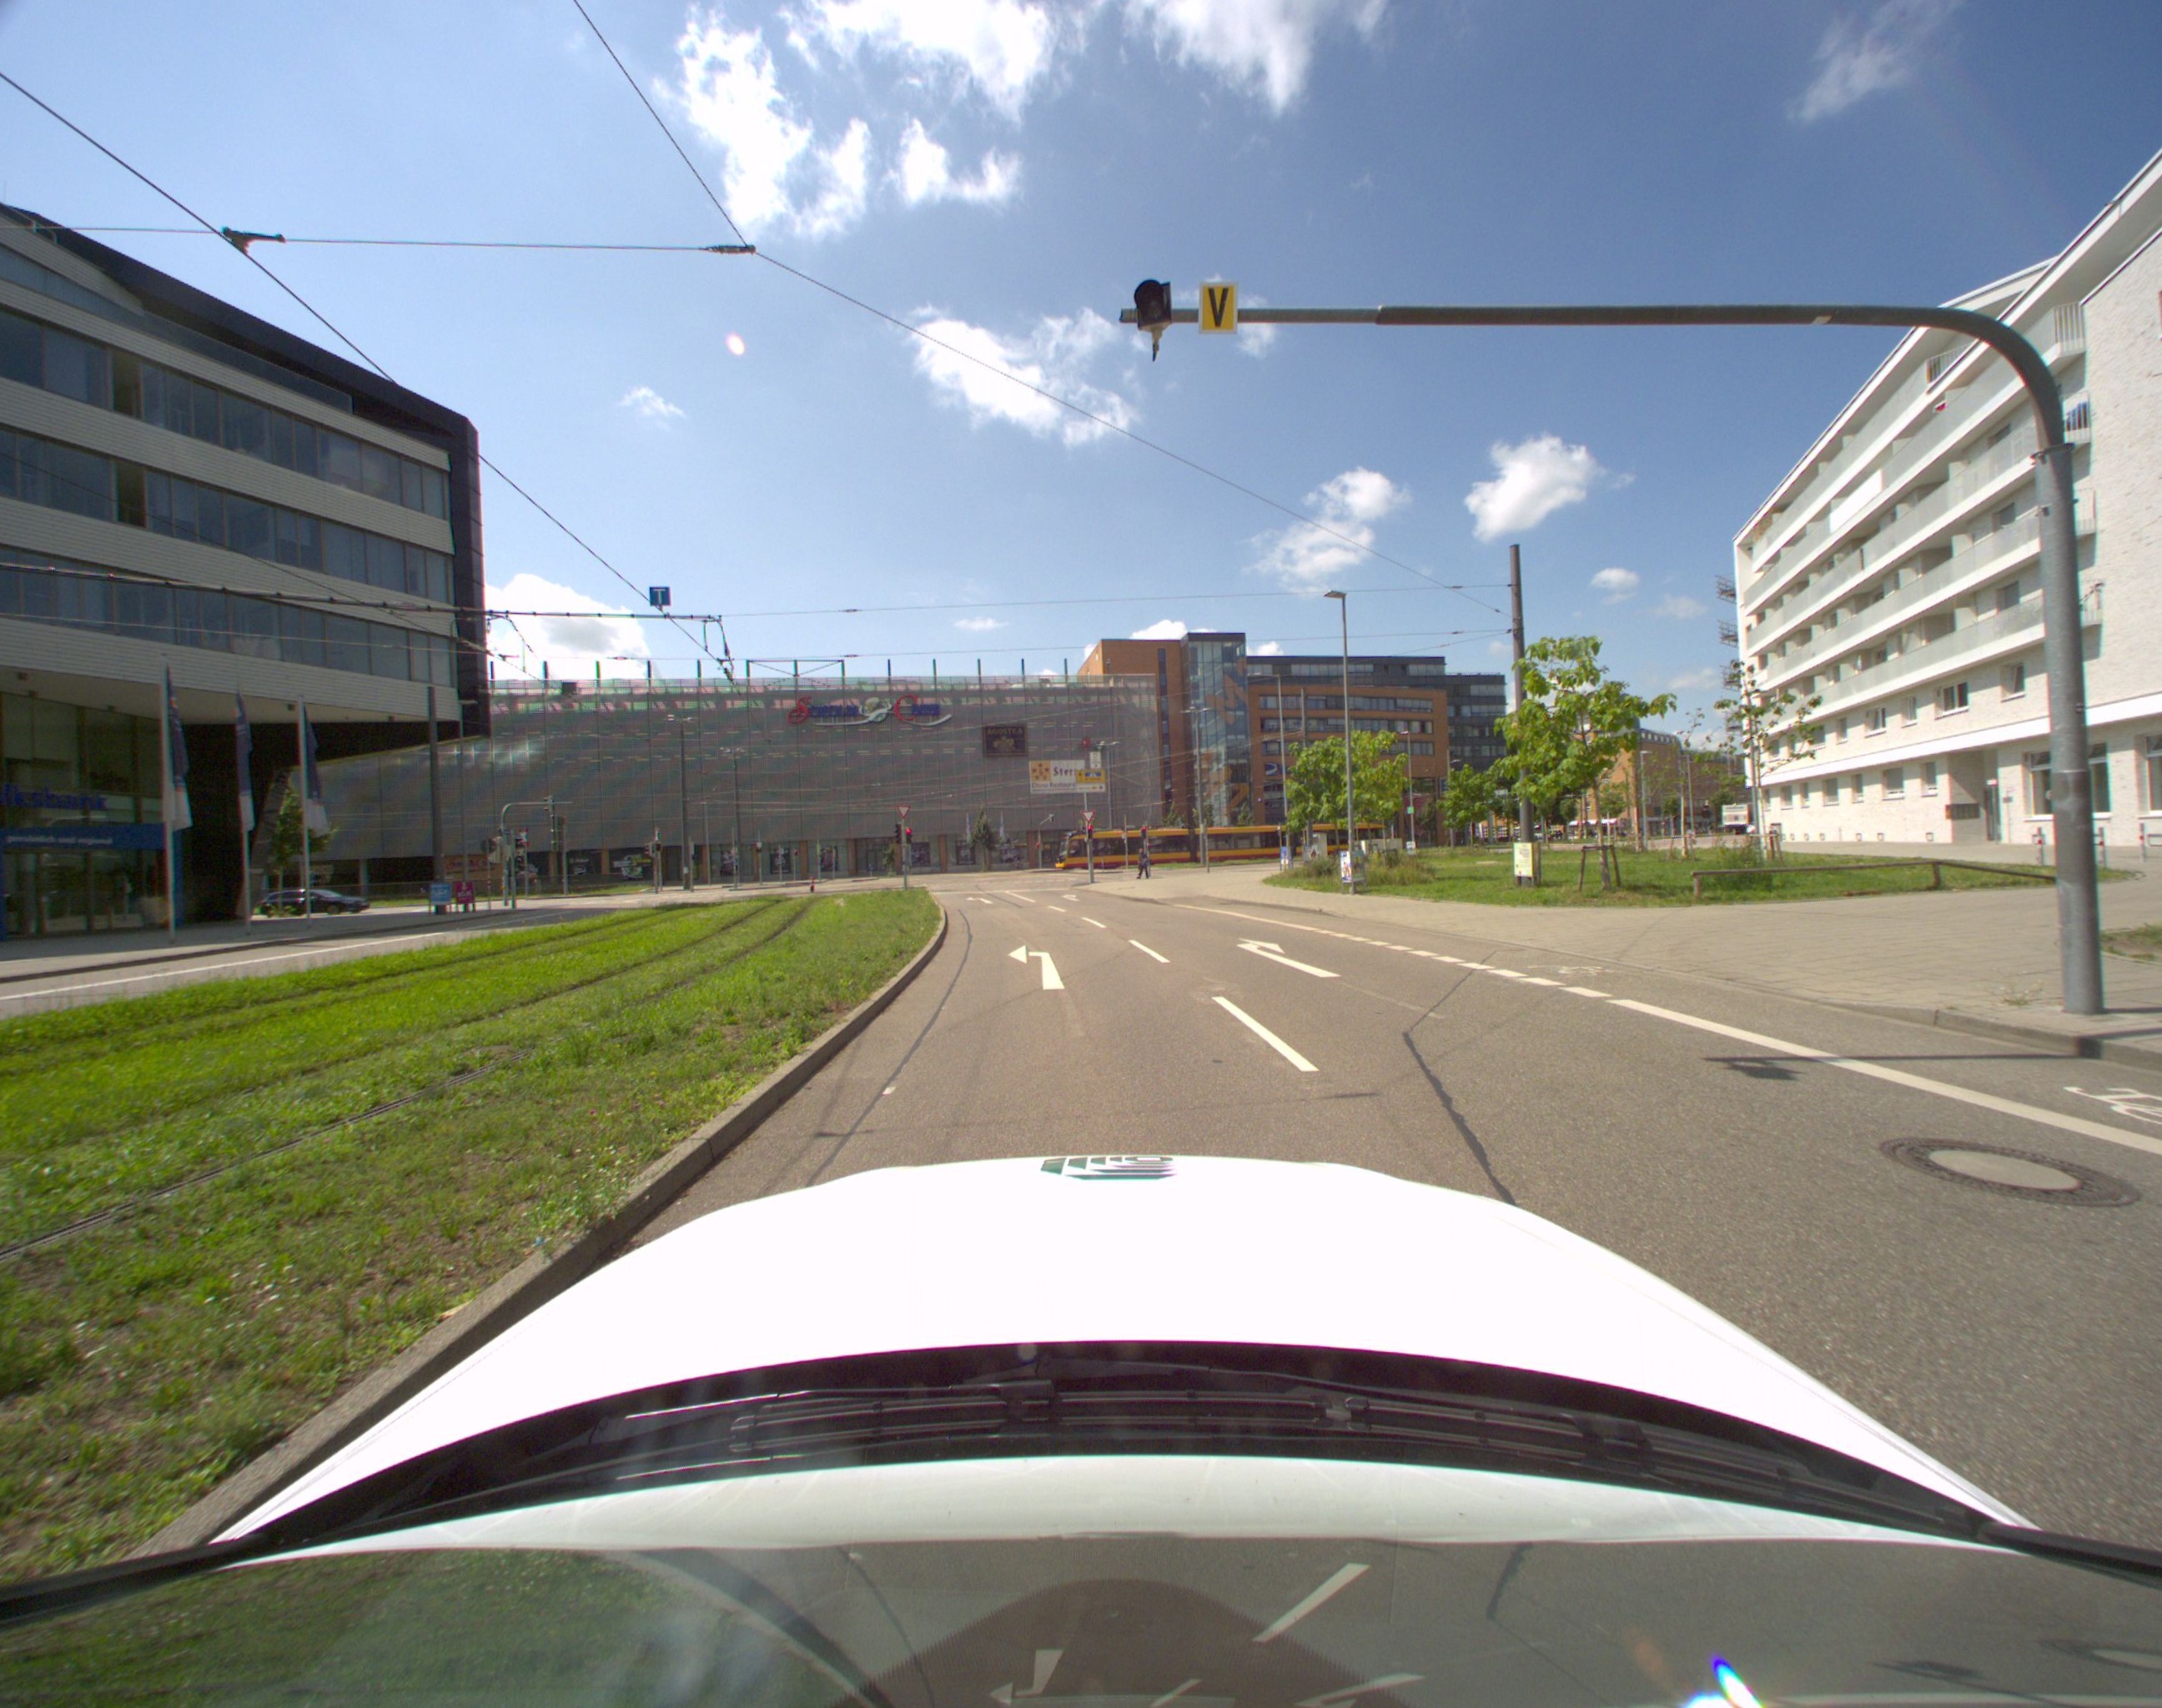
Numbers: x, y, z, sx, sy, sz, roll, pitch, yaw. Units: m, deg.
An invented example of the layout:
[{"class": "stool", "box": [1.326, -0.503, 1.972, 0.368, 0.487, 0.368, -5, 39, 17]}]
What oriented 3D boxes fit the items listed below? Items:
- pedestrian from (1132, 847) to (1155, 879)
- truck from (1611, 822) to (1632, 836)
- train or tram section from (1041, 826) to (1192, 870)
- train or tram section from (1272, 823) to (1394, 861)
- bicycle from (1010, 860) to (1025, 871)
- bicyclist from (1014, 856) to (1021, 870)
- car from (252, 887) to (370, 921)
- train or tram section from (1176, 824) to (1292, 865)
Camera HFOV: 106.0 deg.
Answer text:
[{"class": "pedestrian", "box": [3.471, 0.506, 45.260, 0.812, 1.702, 0.908, -3, -1, -39]}, {"class": "truck", "box": [85.906, -3.963, 129.568, 1.975, 2.085, 5.556, -2, 0, 26]}, {"class": "train or tram section", "box": [3.298, -0.629, 73.369, 13.518, 3.599, 3.201, -2, 0, -24]}, {"class": "train or tram section", "box": [25.661, -1.231, 82.741, 12.644, 3.621, 3.043, -2, 0, -22]}, {"class": "bicycle", "box": [-7.361, 1.297, 94.316, 1.761, 1.224, 0.582, -2, 0, -10]}, {"class": "bicyclist", "box": [-7.360, 1.070, 94.322, 0.662, 1.623, 0.549, -1, 0, -10]}, {"class": "car", "box": [-40.279, 2.599, 42.708, 4.099, 1.469, 1.821, -3, 0, -10]}, {"class": "train or tram section", "box": [14.698, -0.926, 78.055, 10.997, 3.603, 3.044, -2, 0, -21]}]
